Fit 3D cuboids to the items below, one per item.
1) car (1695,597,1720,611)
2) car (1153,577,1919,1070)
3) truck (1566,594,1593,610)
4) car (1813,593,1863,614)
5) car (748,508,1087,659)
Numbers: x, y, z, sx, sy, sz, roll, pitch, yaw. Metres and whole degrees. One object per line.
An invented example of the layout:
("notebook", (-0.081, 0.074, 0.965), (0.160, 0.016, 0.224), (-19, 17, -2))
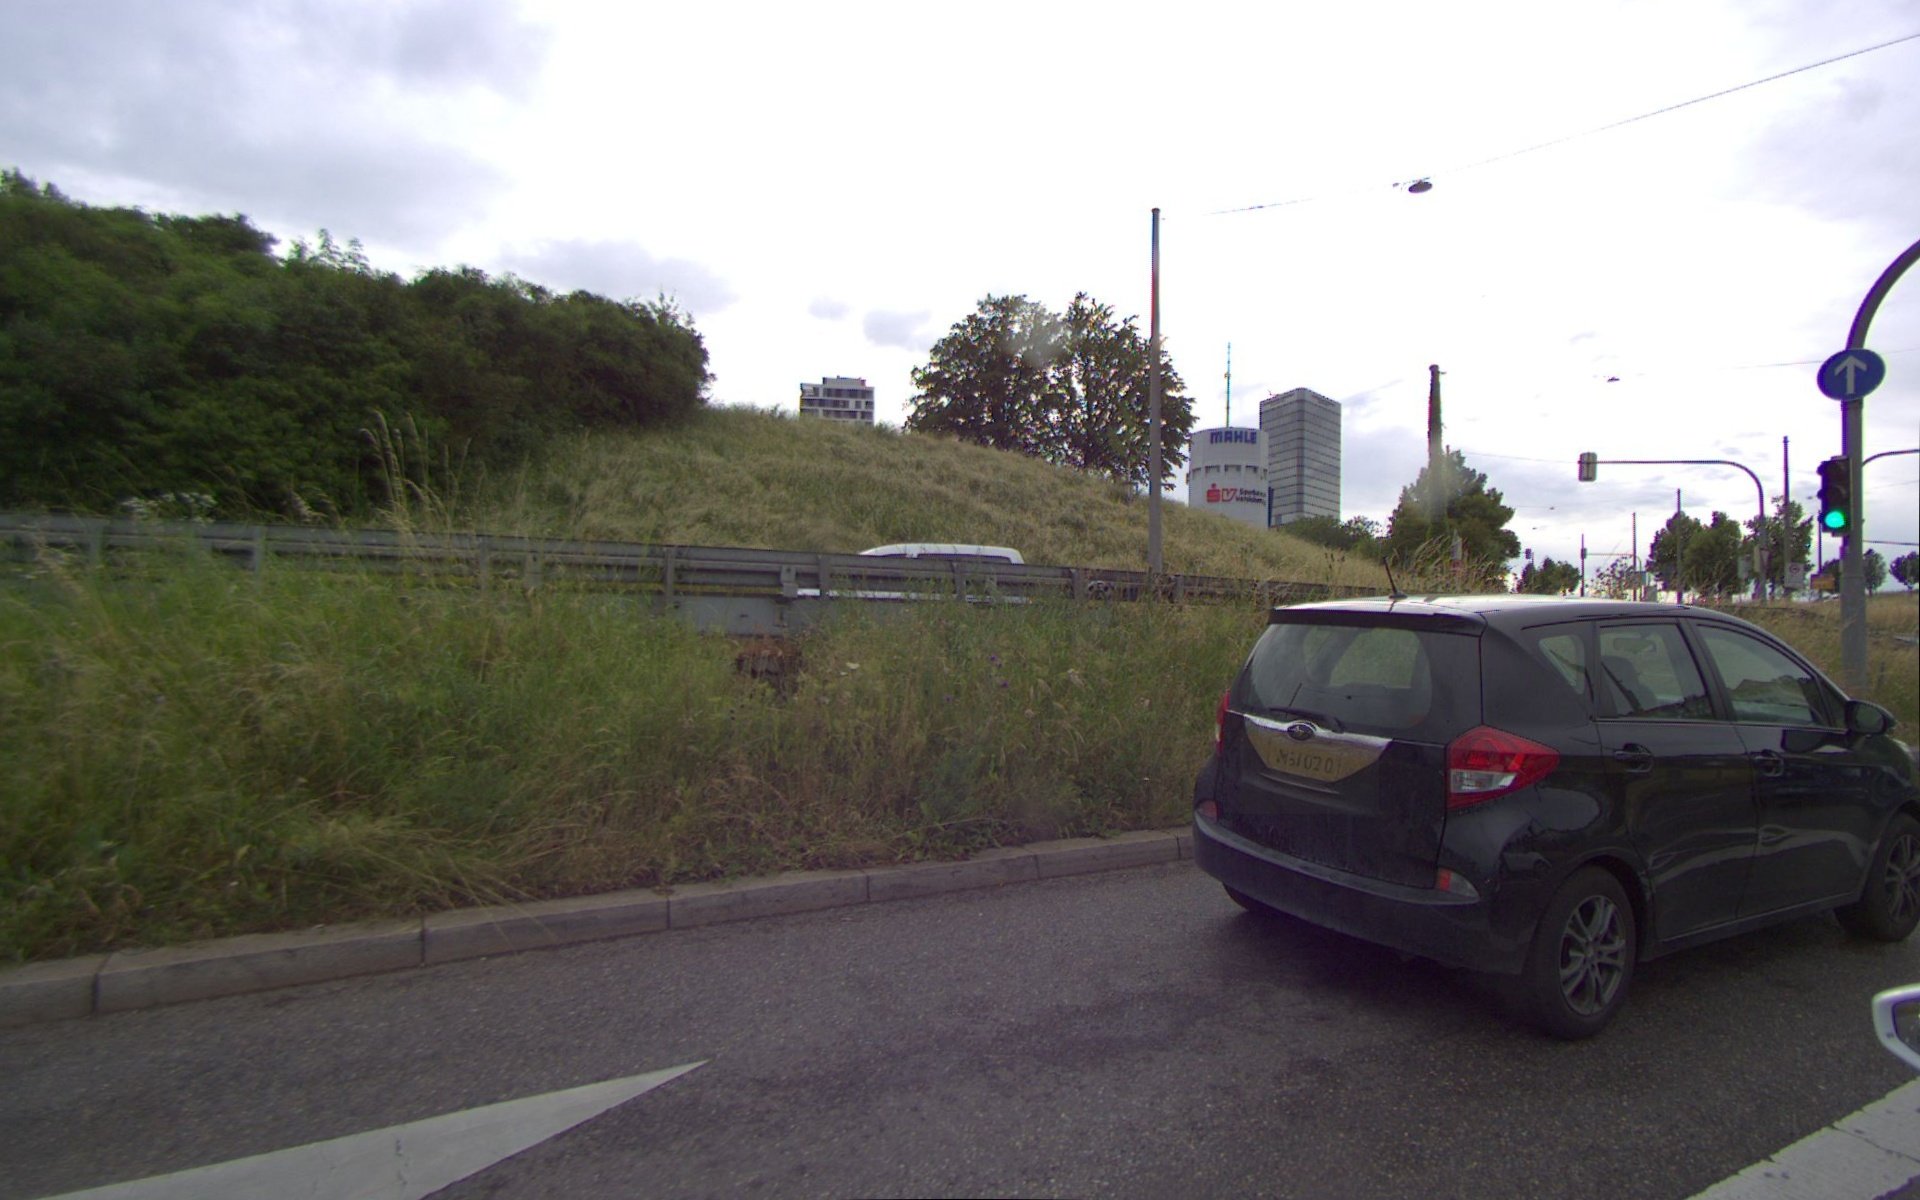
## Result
("car", (95.479, 0.475, 128.358), (1.964, 1.659, 4.412), (3, 2, 29))
("car", (2.933, 0.739, 4.766), (3.731, 1.524, 1.635), (2, 2, -28))
("truck", (124.819, 0.381, 202.464), (3.204, 3.116, 6.175), (3, 2, 20))
("car", (73.254, 0.283, 83.866), (1.963, 1.639, 4.846), (2, 1, 27))
("car", (-0.562, -0.141, 14.789), (4.642, 1.874, 1.808), (3, -1, -29))
